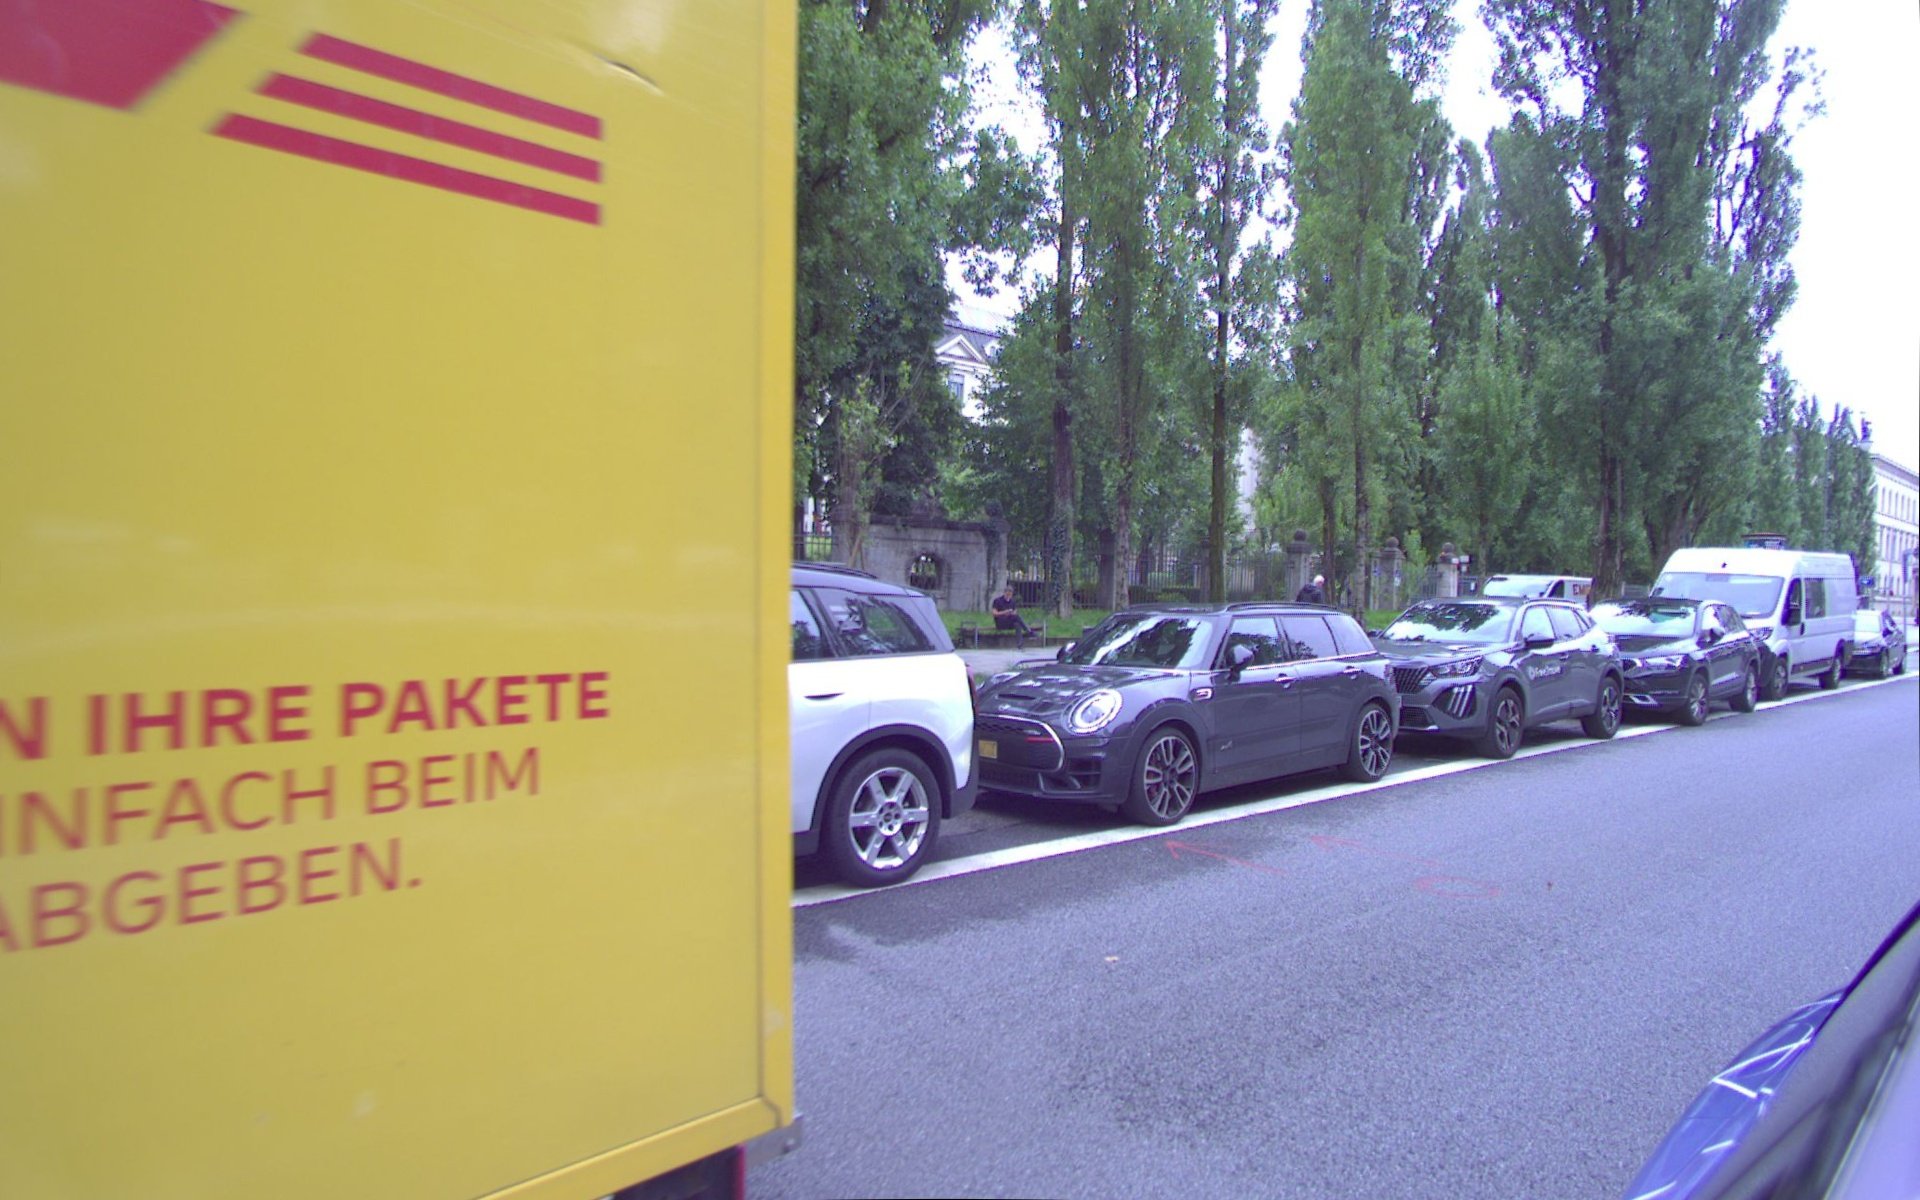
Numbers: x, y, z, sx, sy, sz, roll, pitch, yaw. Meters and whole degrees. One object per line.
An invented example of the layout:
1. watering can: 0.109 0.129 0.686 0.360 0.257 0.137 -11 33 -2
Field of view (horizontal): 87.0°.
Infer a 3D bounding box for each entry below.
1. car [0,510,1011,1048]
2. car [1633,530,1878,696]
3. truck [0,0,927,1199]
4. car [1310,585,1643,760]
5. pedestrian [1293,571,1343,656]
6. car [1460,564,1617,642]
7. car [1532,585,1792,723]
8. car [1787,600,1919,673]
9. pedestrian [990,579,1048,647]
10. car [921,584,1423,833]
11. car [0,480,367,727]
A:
1. car: -1.853 0.539 4.979 4.072 1.602 1.785 0 0 -39
2. car: 14.311 0.191 18.040 6.169 2.510 2.079 0 0 -39
3. truck: -3.568 -0.129 0.228 7.202 2.934 2.333 0 1 -40
4. car: 5.607 0.635 10.783 4.039 1.522 1.655 0 0 -39
5. pedestrian: 7.267 0.260 20.560 0.621 1.680 0.717 1 0 -39
6. car: 16.147 0.049 28.141 4.989 1.970 1.999 0 2 -38
7. car: 9.722 0.631 13.907 4.146 1.610 1.825 0 1 -39
8. car: 19.860 0.748 22.307 3.927 1.468 1.758 1 -1 -39
9. pedestrian: 1.164 0.246 20.028 0.659 1.259 0.882 1 2 -38
10. car: 1.811 0.648 7.899 4.073 1.464 1.637 0 -1 -39
11. car: -8.292 -0.001 8.738 5.228 1.949 1.998 0 1 -39
